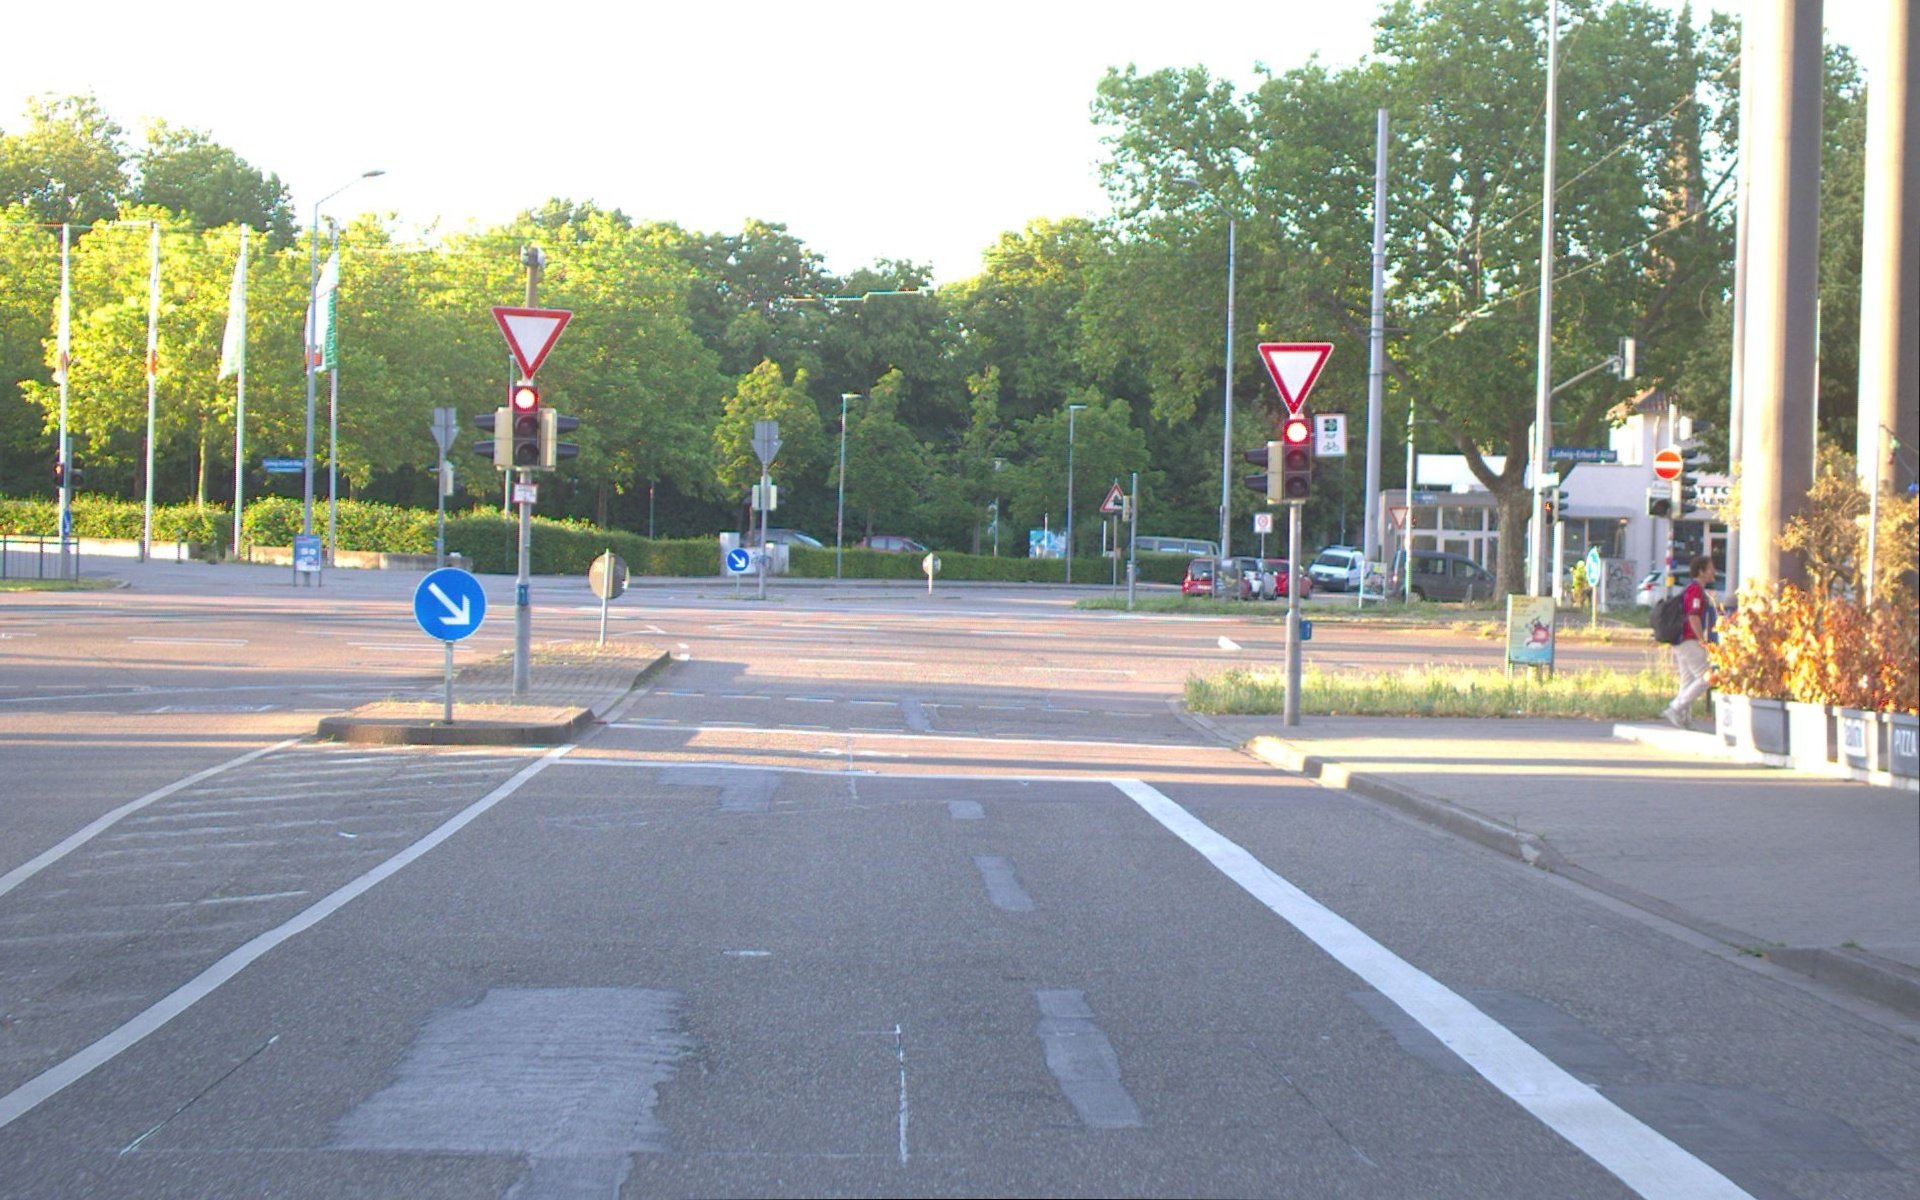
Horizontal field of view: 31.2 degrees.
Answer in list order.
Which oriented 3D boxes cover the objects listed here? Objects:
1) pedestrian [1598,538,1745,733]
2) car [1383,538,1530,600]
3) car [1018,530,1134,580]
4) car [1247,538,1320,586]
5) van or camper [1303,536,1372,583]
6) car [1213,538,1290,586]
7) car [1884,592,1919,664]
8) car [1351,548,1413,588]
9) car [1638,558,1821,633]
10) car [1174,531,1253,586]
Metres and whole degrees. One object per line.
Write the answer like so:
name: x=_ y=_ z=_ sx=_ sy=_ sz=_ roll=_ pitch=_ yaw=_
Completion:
pedestrian: x=6.903 y=0.335 z=33.379 sx=1.053 sy=1.827 sz=0.895 roll=1 pitch=2 yaw=-14
car: x=15.832 y=-0.993 z=109.799 sx=4.468 sy=1.810 sz=1.945 roll=2 pitch=2 yaw=5
car: x=4.850 y=-1.886 z=143.378 sx=4.685 sy=1.862 sz=2.013 roll=2 pitch=2 yaw=6
car: x=11.676 y=-1.377 z=123.814 sx=1.499 sy=1.600 sz=3.398 roll=3 pitch=3 yaw=26
van or camper: x=16.650 y=-1.801 z=151.542 sx=1.627 sy=1.975 sz=3.801 roll=3 pitch=3 yaw=29
car: x=10.205 y=-1.340 z=120.172 sx=1.499 sy=1.600 sz=3.398 roll=3 pitch=3 yaw=26
car: x=27.286 y=0.797 z=92.196 sx=4.467 sy=1.810 sz=1.945 roll=2 pitch=2 yaw=1
car: x=16.645 y=-1.287 z=135.545 sx=1.499 sy=1.472 sz=3.080 roll=3 pitch=3 yaw=26
car: x=20.728 y=-0.134 z=92.699 sx=4.467 sy=1.810 sz=1.945 roll=2 pitch=2 yaw=1
car: x=8.594 y=-1.407 z=116.454 sx=1.499 sy=1.754 sz=3.398 roll=3 pitch=2 yaw=26
